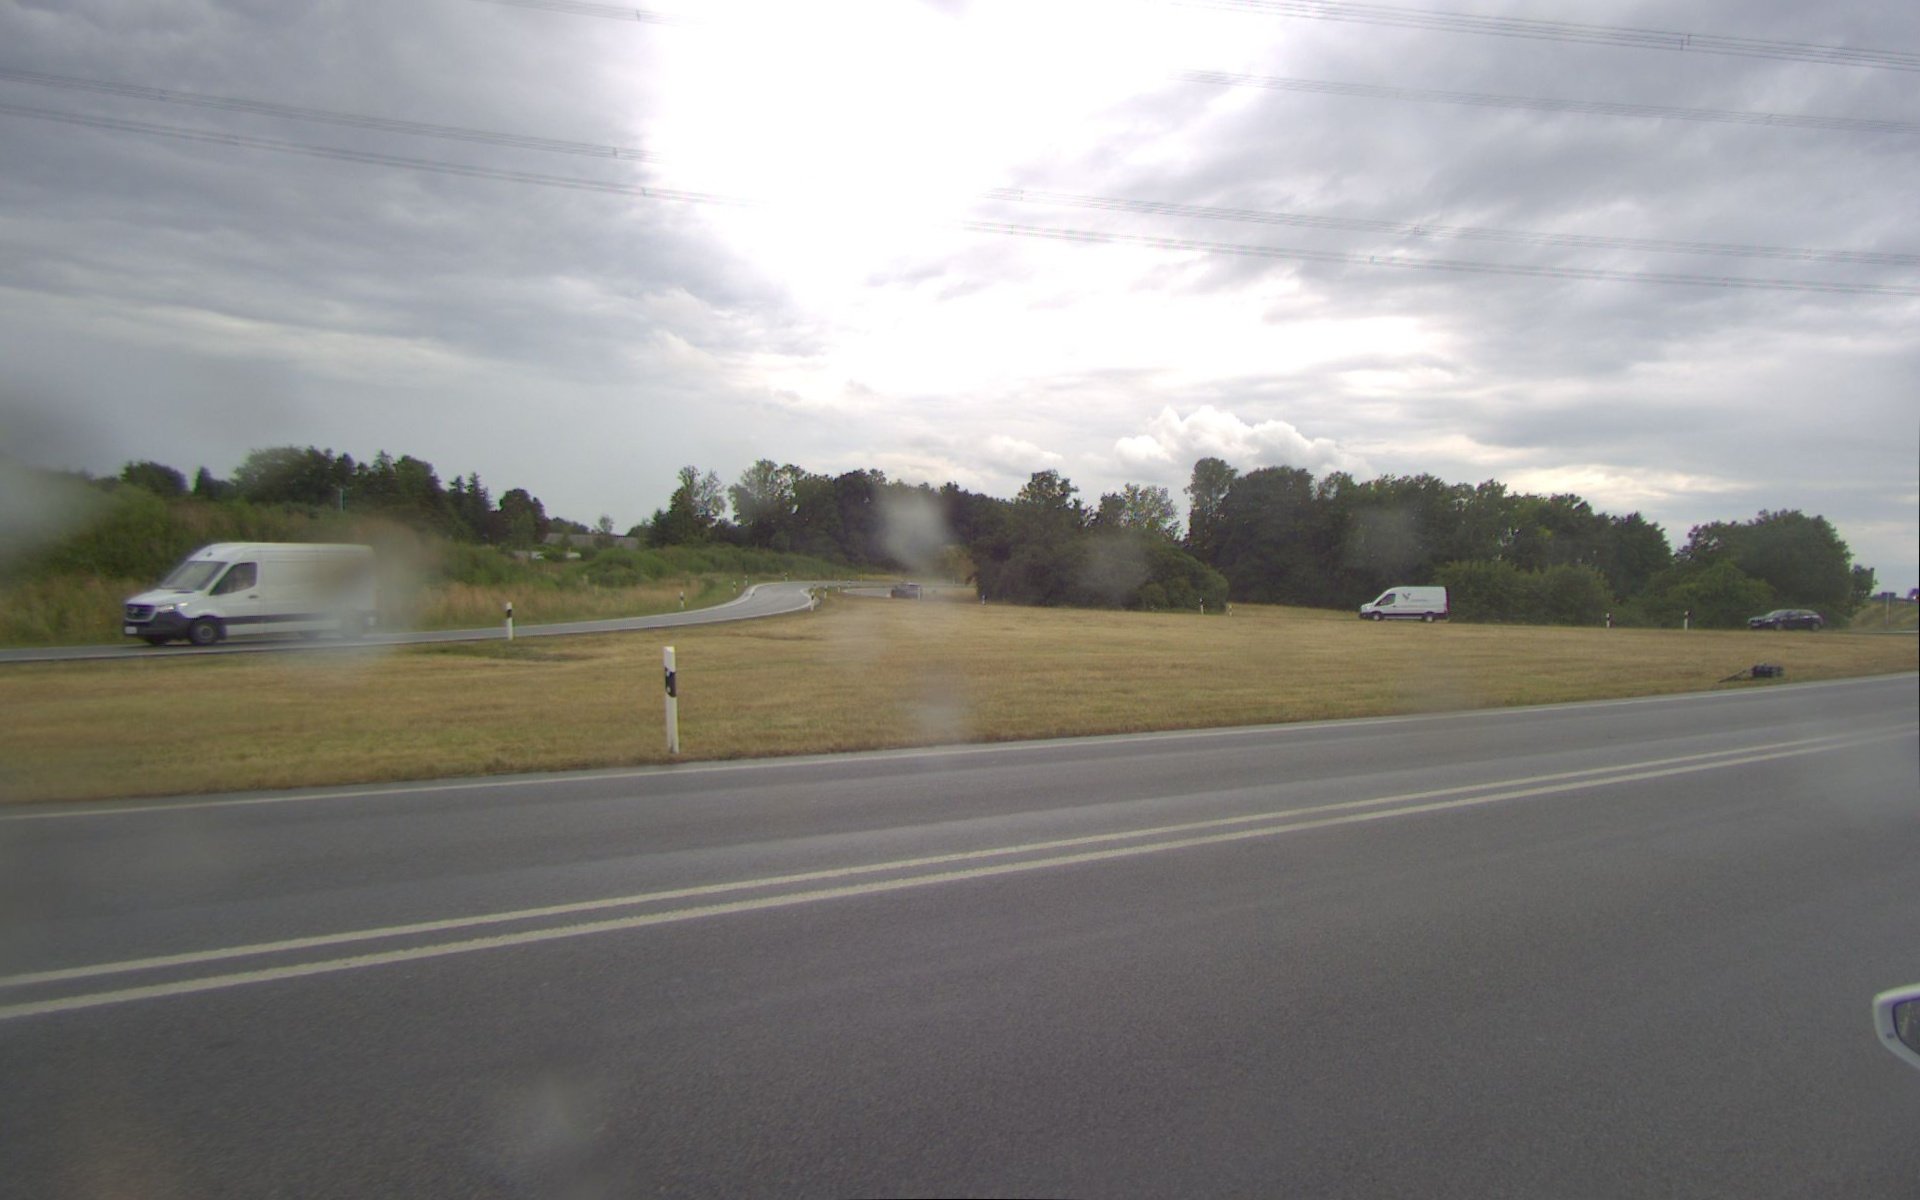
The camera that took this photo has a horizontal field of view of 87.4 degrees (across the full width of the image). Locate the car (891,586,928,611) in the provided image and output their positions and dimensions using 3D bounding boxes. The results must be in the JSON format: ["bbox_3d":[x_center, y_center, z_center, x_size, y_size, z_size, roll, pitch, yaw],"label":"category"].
[{"bbox_3d":[-4.901,-0.163,96.557,1.976,2.040,3.969,3,3,-28],"label":"car"}]

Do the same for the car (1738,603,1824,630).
[{"bbox_3d":[52.389,1.055,64.166,3.839,1.625,1.987,1,1,-1],"label":"car"}]

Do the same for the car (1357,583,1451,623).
[{"bbox_3d":[29.648,0.206,67.284,5.361,2.423,2.443,2,0,17],"label":"car"}]

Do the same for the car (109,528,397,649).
[{"bbox_3d":[-18.332,-0.270,26.545,2.171,2.786,6.021,2,0,20],"label":"car"}]
